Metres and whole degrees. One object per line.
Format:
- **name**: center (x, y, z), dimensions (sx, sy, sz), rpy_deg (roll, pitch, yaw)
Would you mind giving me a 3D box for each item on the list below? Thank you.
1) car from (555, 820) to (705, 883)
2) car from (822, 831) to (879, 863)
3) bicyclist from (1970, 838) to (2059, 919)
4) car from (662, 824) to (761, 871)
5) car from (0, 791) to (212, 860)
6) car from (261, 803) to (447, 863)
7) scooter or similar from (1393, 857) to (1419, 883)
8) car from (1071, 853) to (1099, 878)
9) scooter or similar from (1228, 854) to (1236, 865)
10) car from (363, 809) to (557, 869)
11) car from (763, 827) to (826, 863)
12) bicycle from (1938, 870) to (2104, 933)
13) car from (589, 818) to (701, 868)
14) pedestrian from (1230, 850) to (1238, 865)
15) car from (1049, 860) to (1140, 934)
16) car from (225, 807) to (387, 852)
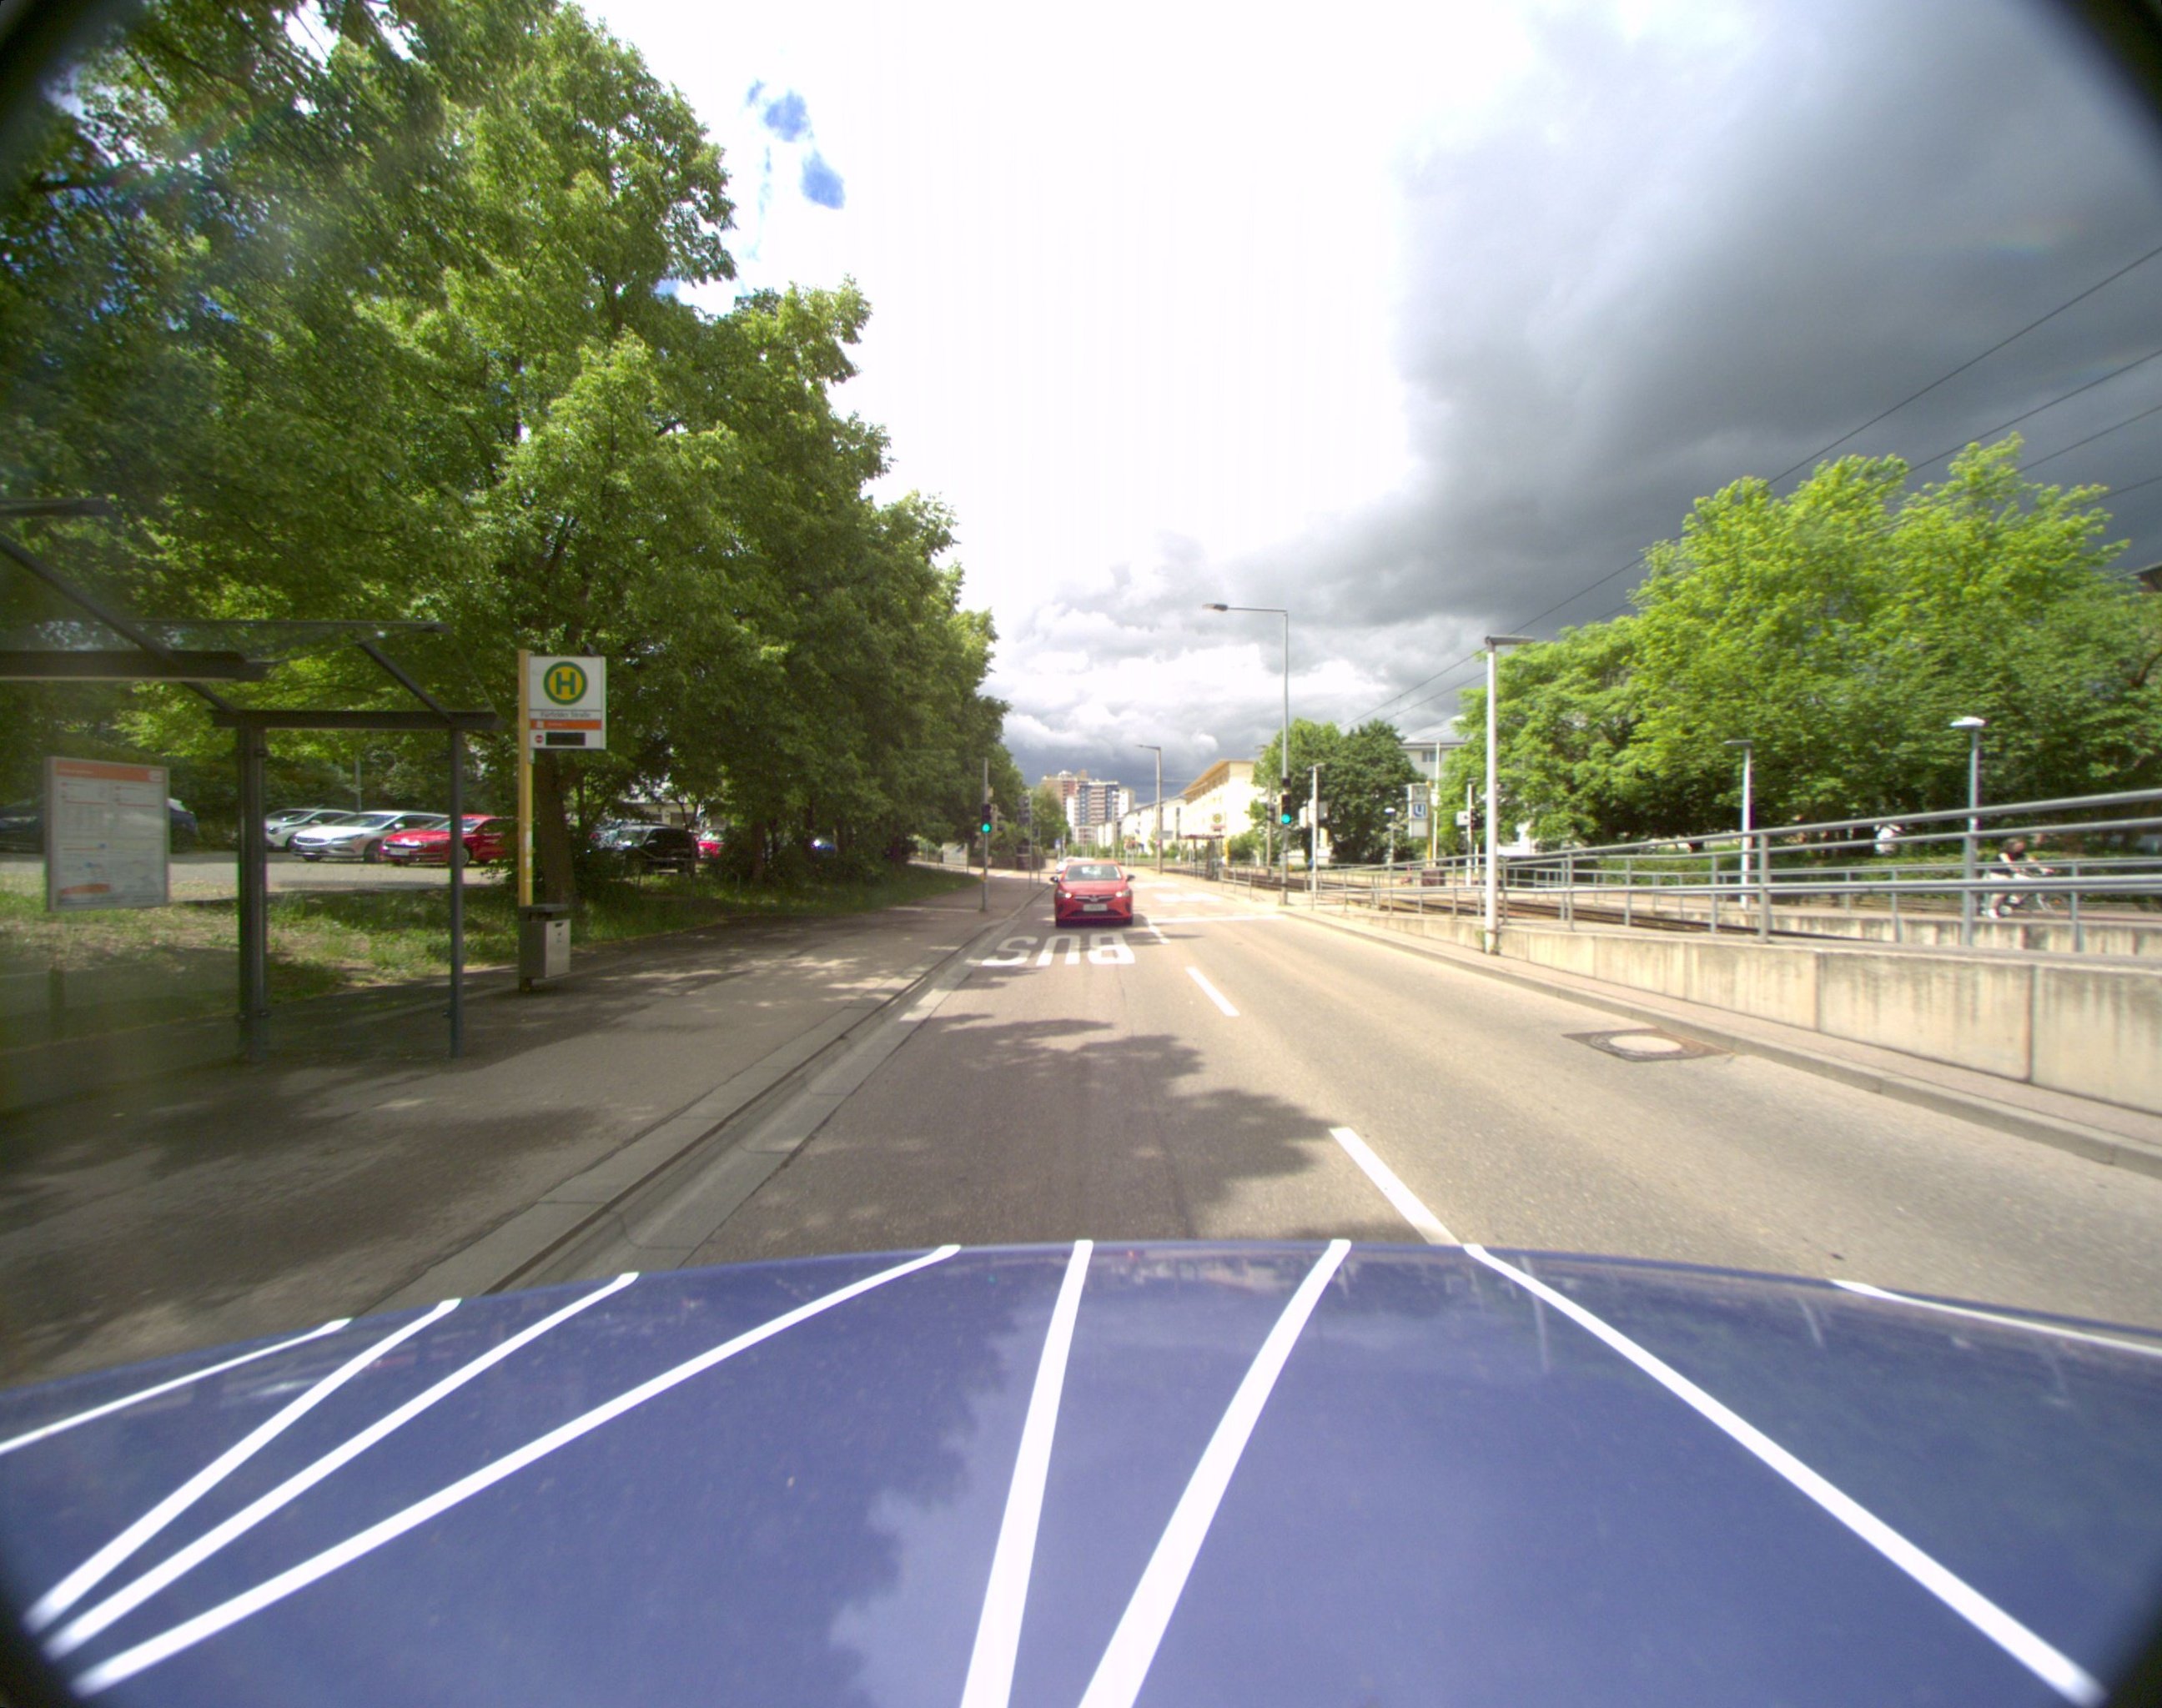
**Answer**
- **car**: center (-12.377, -0.066, 21.212), dimensions (1.631, 1.505, 4.138), rpy_deg (3, 0, 0)
- **car**: center (-11.519, -0.371, 38.179), dimensions (1.828, 1.503, 3.812), rpy_deg (1, 2, -2)
- **bicyclist**: center (17.041, 0.433, 13.885), dimensions (0.634, 1.421, 0.790), rpy_deg (-2, 1, 0)
- **car**: center (-13.007, -0.227, 27.007), dimensions (1.665, 1.492, 3.662), rpy_deg (2, 0, 1)
- **car**: center (-26.134, -0.670, 19.887), dimensions (2.064, 1.615, 4.100), rpy_deg (0, 0, -1)
- **car**: center (-20.090, -0.540, 21.231), dimensions (1.635, 1.469, 3.662), rpy_deg (2, 0, 1)
- **scooter or similar**: center (15.634, 0.766, 36.573), dimensions (0.651, 1.229, 1.401), rpy_deg (-2, 0, 1)
- **car**: center (0.202, 0.714, 47.395), dimensions (1.499, 1.477, 3.519), rpy_deg (0, 0, -3)
- **scooter or similar**: center (16.238, 0.595, 81.730), dimensions (0.606, 1.108, 0.821), rpy_deg (-1, 1, -1)
- **car**: center (-17.494, -0.399, 21.751), dimensions (1.756, 1.469, 4.544), rpy_deg (2, 0, 1)
- **car**: center (-14.182, -0.484, 37.833), dimensions (1.683, 1.626, 3.904), rpy_deg (4, 2, -2)
- **bicycle**: center (17.028, 0.826, 13.845), dimensions (0.639, 0.988, 1.928), rpy_deg (-2, 0, 1)
- **car**: center (-15.245, -0.379, 26.814), dimensions (1.756, 1.573, 3.662), rpy_deg (2, 0, 1)
- **pedestrian**: center (16.275, 0.393, 80.821), dimensions (0.614, 1.531, 0.874), rpy_deg (-1, 1, -1)
- **car**: center (0.204, 0.903, 17.892), dimensions (1.784, 1.433, 4.129), rpy_deg (-2, 0, -3)
- **car**: center (-25.743, -0.775, 25.429), dimensions (1.635, 1.320, 3.662), rpy_deg (2, 0, 1)
